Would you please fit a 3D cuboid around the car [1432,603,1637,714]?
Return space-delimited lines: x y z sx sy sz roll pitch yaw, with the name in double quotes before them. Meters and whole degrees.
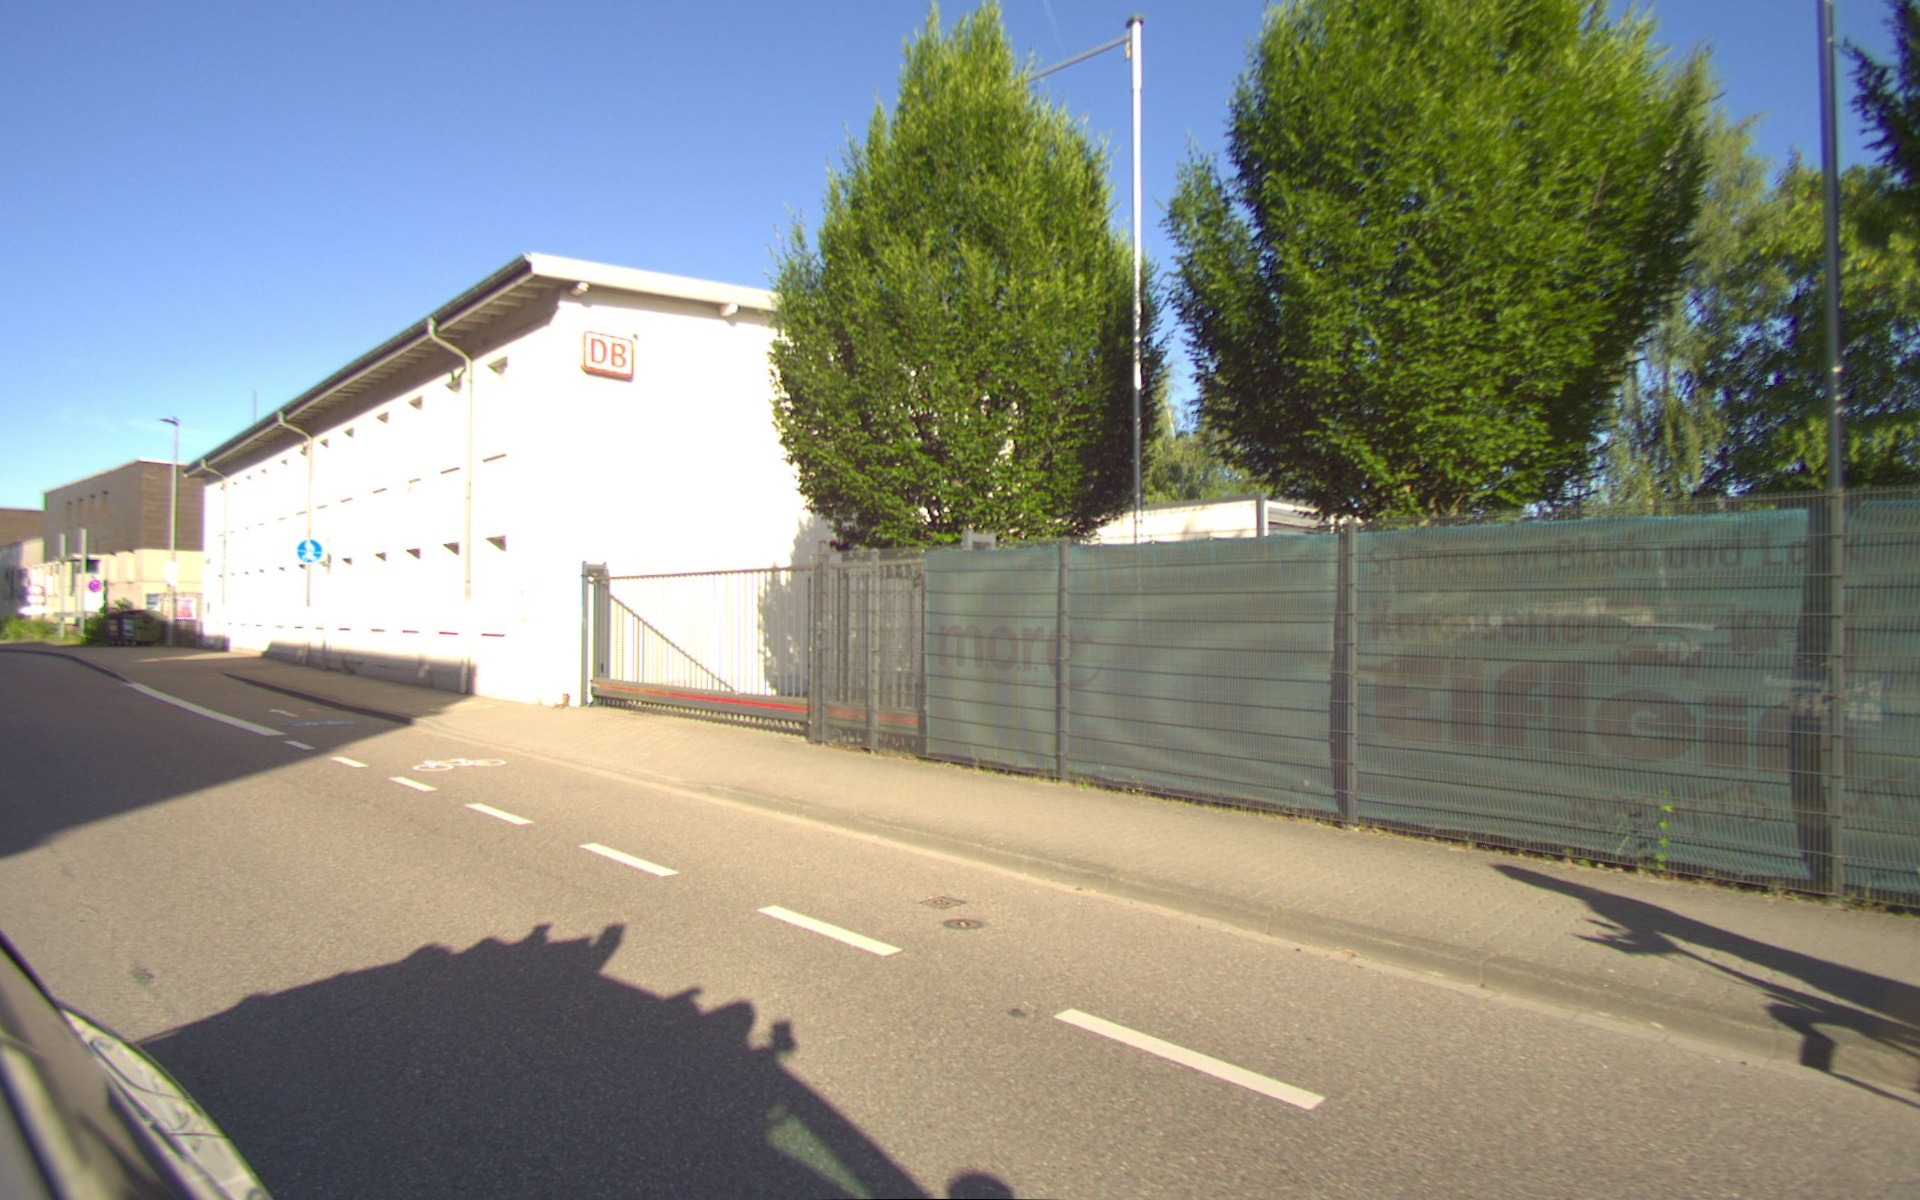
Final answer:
"car" 9.297 0.906 16.242 3.941 1.552 1.876 3 -3 -45

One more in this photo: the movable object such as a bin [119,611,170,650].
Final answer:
"movable object such as a bin" -32.094 1.191 39.836 1.369 1.482 1.189 -1 -1 33

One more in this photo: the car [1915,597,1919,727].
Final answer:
"car" 13.500 0.797 12.841 3.941 1.552 1.876 3 -3 -45

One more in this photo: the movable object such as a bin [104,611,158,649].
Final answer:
"movable object such as a bin" -33.243 1.202 40.602 1.285 1.482 1.349 -1 -1 33
